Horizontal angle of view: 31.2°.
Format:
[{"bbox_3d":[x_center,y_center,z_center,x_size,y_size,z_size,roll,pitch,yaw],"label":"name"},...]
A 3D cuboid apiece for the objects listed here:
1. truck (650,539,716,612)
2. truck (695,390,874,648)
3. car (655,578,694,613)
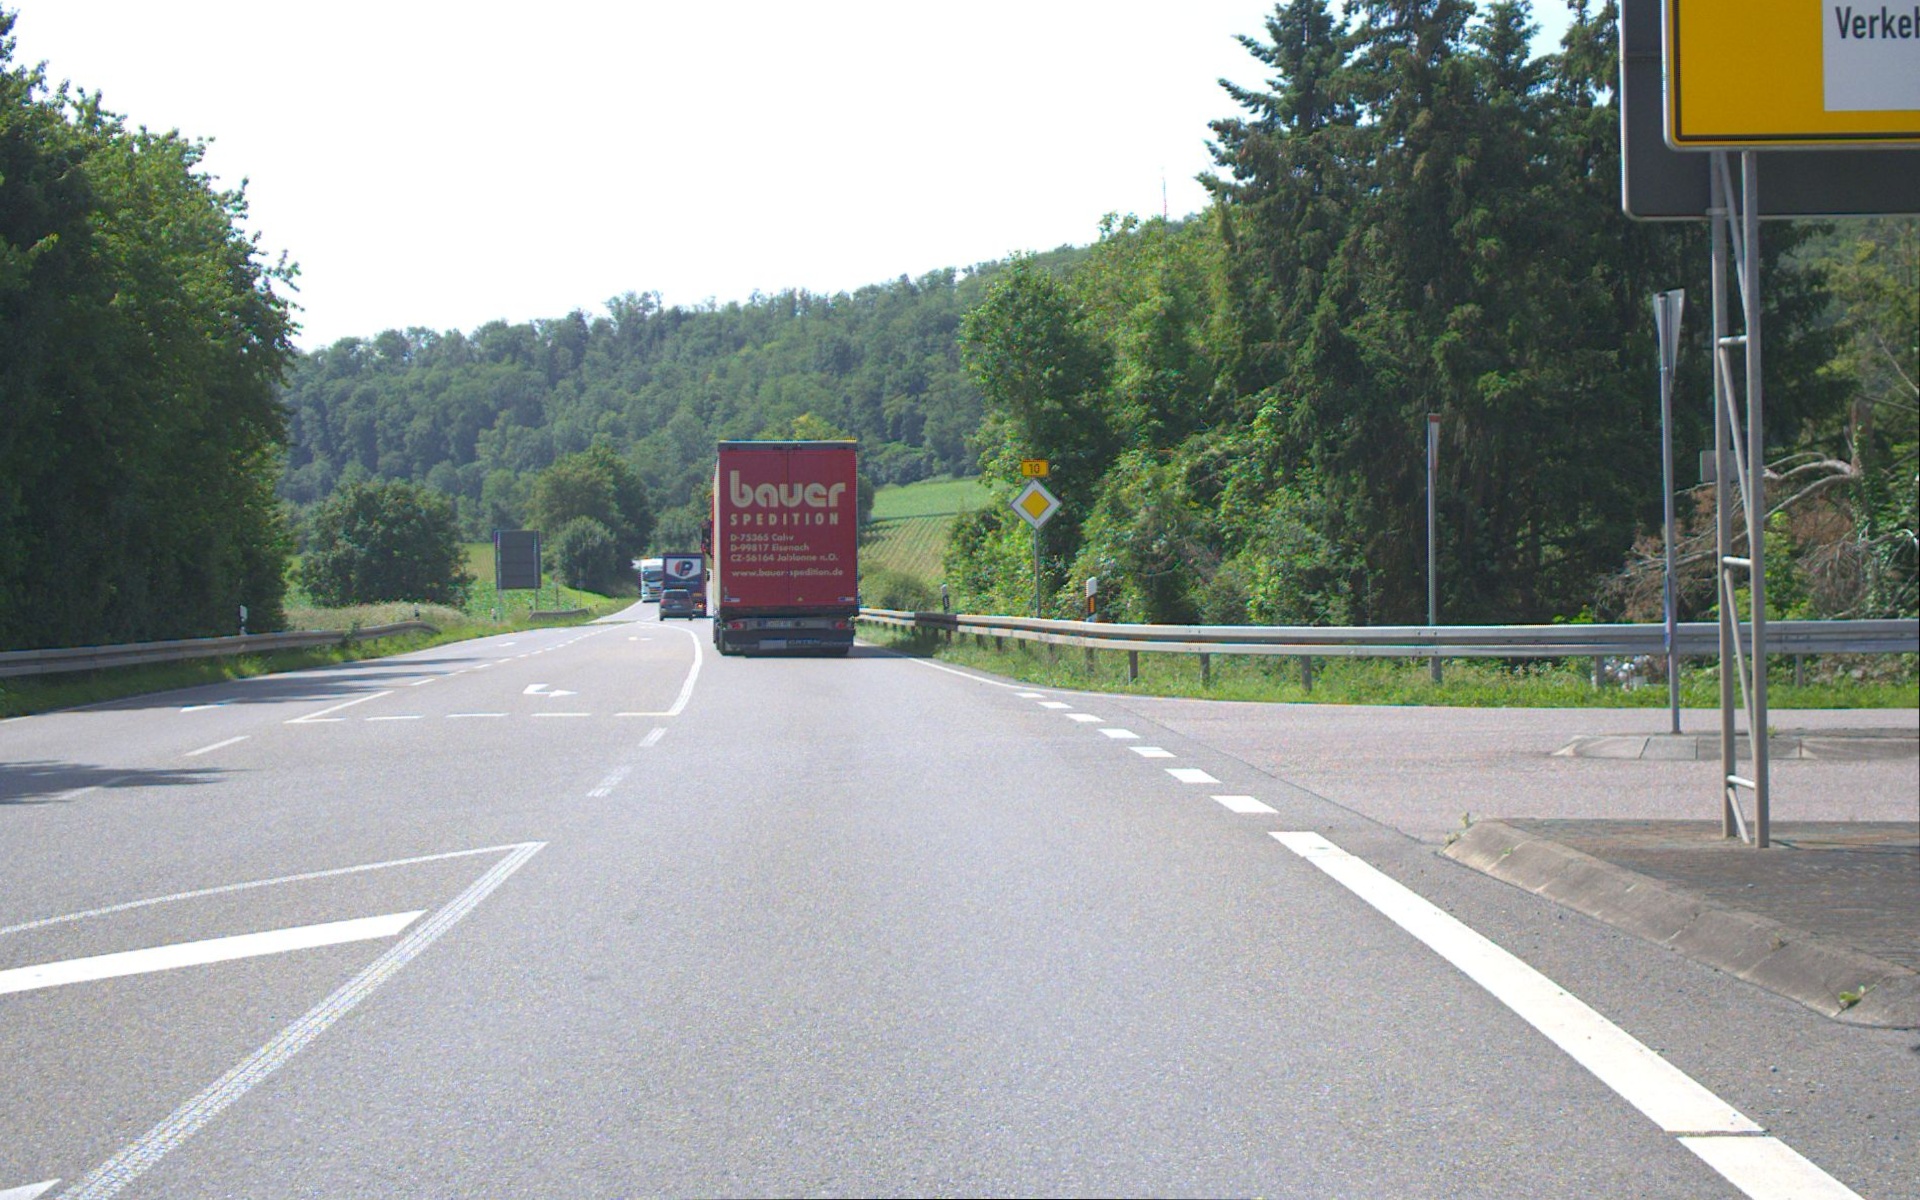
[{"bbox_3d":[-17.378,-1.464,215.400,3.904,4.355,13.294,1,0,-5],"label":"truck"},{"bbox_3d":[-3.550,-1.522,68.994,3.172,4.609,13.545,-1,0,-3],"label":"truck"},{"bbox_3d":[-15.301,-0.224,184.044,1.993,1.804,4.001,2,0,-5],"label":"car"}]
